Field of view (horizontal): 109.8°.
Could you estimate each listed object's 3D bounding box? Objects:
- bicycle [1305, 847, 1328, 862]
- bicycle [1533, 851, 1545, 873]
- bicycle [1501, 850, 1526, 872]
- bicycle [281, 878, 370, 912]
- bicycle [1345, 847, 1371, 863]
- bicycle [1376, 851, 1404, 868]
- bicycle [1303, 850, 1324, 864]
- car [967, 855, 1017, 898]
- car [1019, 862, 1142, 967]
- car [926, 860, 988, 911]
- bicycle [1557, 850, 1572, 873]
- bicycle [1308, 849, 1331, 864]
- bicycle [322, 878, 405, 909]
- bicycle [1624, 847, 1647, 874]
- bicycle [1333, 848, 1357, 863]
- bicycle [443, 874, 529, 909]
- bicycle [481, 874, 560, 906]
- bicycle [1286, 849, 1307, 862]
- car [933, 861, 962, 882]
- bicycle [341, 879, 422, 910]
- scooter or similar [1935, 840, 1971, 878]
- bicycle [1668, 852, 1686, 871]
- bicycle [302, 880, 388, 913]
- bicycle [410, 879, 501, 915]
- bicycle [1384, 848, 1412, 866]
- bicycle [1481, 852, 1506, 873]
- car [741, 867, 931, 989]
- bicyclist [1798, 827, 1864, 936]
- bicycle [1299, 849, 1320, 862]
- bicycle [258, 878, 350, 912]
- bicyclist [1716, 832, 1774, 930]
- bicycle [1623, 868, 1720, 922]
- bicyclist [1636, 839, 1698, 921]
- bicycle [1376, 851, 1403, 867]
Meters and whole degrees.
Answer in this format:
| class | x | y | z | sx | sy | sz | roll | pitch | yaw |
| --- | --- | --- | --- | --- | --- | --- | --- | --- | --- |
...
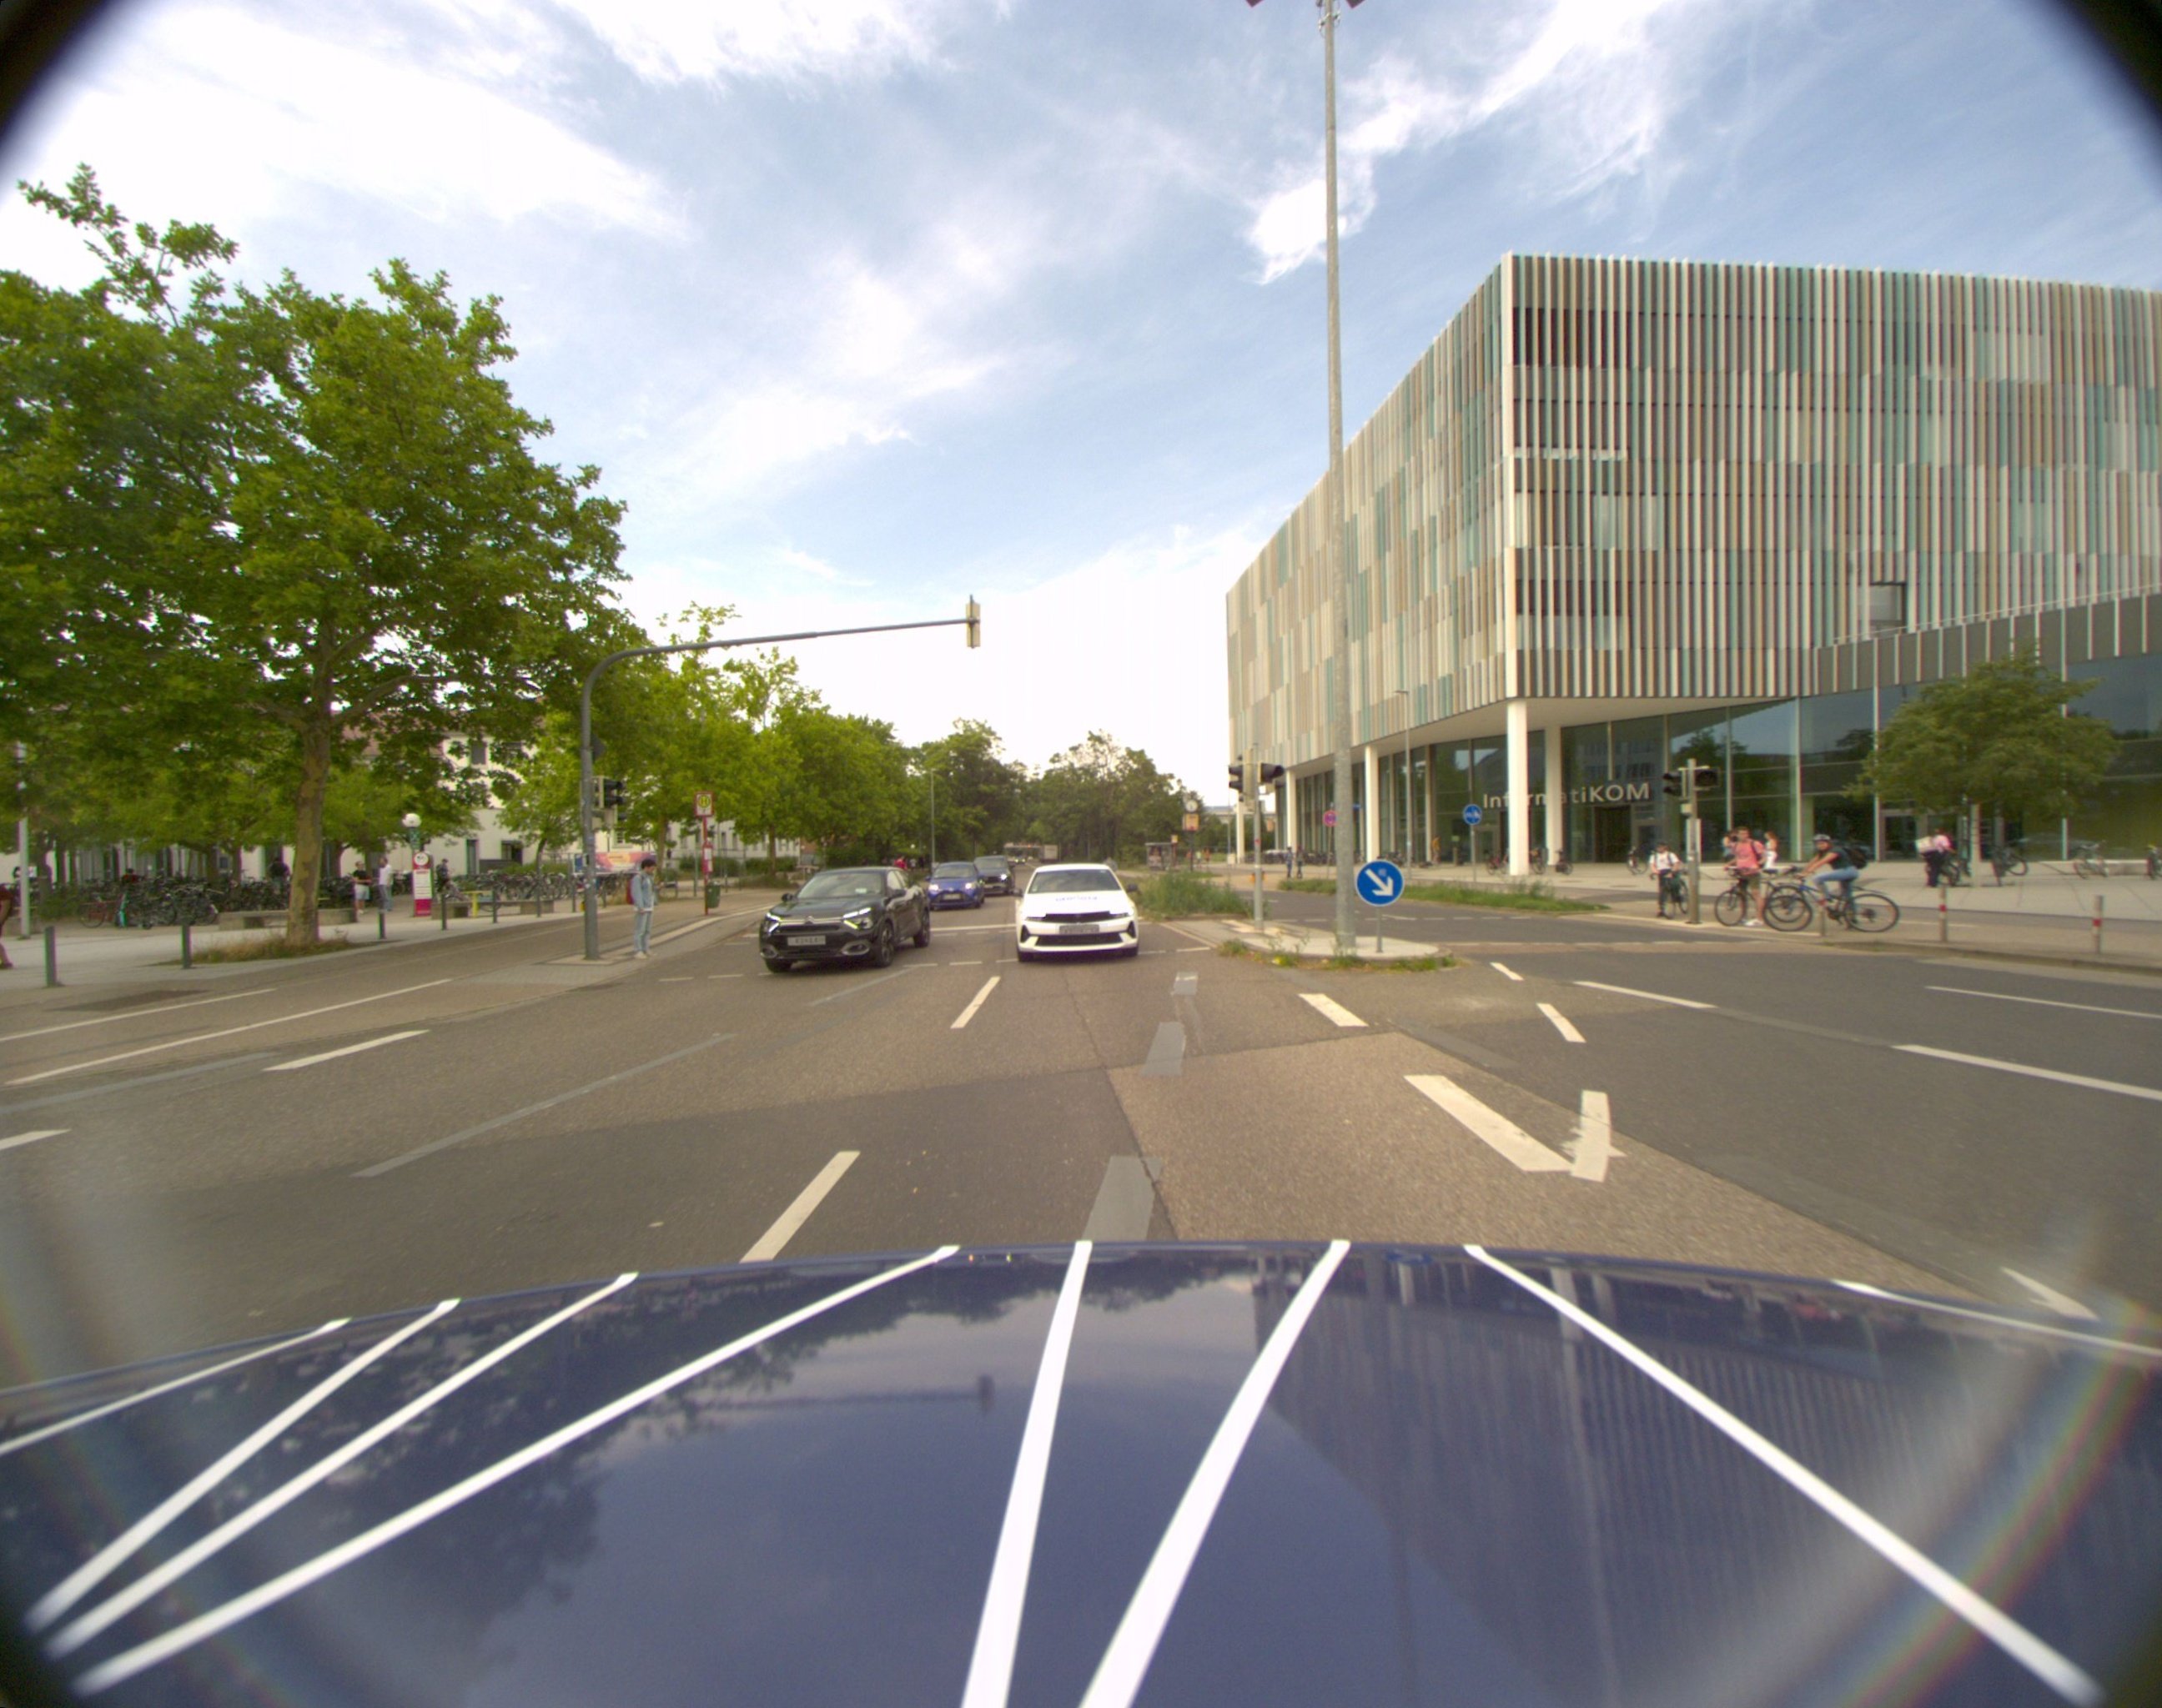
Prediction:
| class | x | y | z | sx | sy | sz | roll | pitch | yaw |
| --- | --- | --- | --- | --- | --- | --- | --- | --- | --- |
| bicycle | 18.253 | 0.040 | 58.904 | 1.582 | 1.017 | 0.389 | -4 | 1 | -9 |
| bicycle | 20.735 | 0.357 | 34.404 | 0.393 | 0.932 | 1.600 | -3 | 1 | 29 |
| bicycle | 20.577 | 0.318 | 36.149 | 1.600 | 0.932 | 0.393 | -4 | 1 | -37 |
| bicycle | -28.293 | 1.532 | 28.478 | 2.472 | 1.136 | 0.717 | -2 | 1 | -3 |
| bicycle | 19.001 | 0.055 | 52.125 | 1.582 | 1.017 | 0.389 | -4 | 1 | -9 |
| bicycle | 18.961 | 0.326 | 46.593 | 1.546 | 0.932 | 0.394 | -4 | 1 | -9 |
| bicycle | 18.171 | 0.228 | 59.378 | 1.582 | 1.017 | 0.389 | -4 | 1 | -9 |
| car | -3.713 | 0.884 | 32.235 | 1.905 | 1.639 | 4.642 | -2 | 0 | -5 |
| car | -0.194 | 0.911 | 13.556 | 1.745 | 1.430 | 4.780 | -2 | 0 | -5 |
| car | -4.067 | 0.970 | 25.354 | 1.704 | 1.485 | 3.830 | -2 | 0 | -5 |
| bicycle | 21.489 | 0.325 | 33.779 | 0.393 | 0.932 | 1.600 | -3 | 1 | 29 |
| bicycle | 17.903 | 0.188 | 57.046 | 1.582 | 1.017 | 0.389 | -4 | 1 | -9 |
| bicycle | -28.383 | 1.558 | 30.096 | 2.472 | 1.136 | 0.717 | -2 | 1 | -3 |
| bicycle | 23.087 | 0.260 | 31.620 | 1.549 | 1.023 | 0.393 | -4 | 1 | -41 |
| bicycle | 18.899 | 0.105 | 54.324 | 1.582 | 1.017 | 0.389 | -4 | 1 | -9 |
| bicycle | -21.853 | 1.371 | 27.943 | 2.472 | 1.136 | 0.717 | -2 | 1 | -3 |
| bicycle | -21.954 | 1.390 | 29.777 | 2.472 | 1.136 | 0.717 | -2 | 1 | -3 |
| bicycle | 17.598 | 0.120 | 61.989 | 1.582 | 1.017 | 0.389 | -4 | 1 | -9 |
| car | -9.594 | 1.260 | 54.741 | 1.704 | 1.361 | 3.830 | -2 | 0 | -5 |
| bicycle | -28.428 | 1.627 | 30.906 | 2.472 | 1.136 | 0.717 | -2 | 1 | -3 |
| scooter or similar | 29.178 | 0.163 | 25.406 | 2.129 | 1.191 | 0.594 | -2 | 1 | -36 |
| bicycle | 24.317 | 0.284 | 31.005 | 0.393 | 0.669 | 1.799 | -3 | 1 | 33 |
| bicycle | -28.325 | 1.639 | 29.262 | 2.472 | 1.136 | 0.717 | -2 | 1 | -3 |
| bicycle | -21.980 | 1.492 | 26.732 | 2.472 | 1.136 | 0.717 | -2 | 1 | -3 |
| bicycle | 19.125 | 0.179 | 45.814 | 1.546 | 0.989 | 0.399 | -4 | 1 | -8 |
| bicycle | 19.618 | 0.396 | 36.123 | 1.613 | 0.932 | 0.393 | -4 | 1 | -37 |
| car | -3.731 | 1.032 | 12.374 | 1.804 | 1.547 | 4.175 | -3 | -1 | -2 |
| bicyclist | 12.853 | 0.462 | 13.030 | 0.602 | 1.796 | 0.561 | -4 | 2 | -18 |
| bicycle | 18.060 | 0.154 | 59.956 | 1.582 | 1.017 | 0.389 | 0 | 1 | -9 |
| bicycle | -28.249 | 1.485 | 27.646 | 2.472 | 1.136 | 0.717 | -2 | 1 | -3 |
| bicyclist | 12.605 | 0.495 | 14.438 | 0.602 | 1.796 | 0.561 | -4 | 2 | -18 |
| bicycle | 12.628 | 0.861 | 16.245 | 1.824 | 0.983 | 0.727 | -3 | 1 | -18 |
| bicyclist | 12.491 | 0.534 | 16.198 | 0.729 | 1.663 | 0.722 | -4 | 1 | -18 |
| bicycle | 19.213 | 0.299 | 47.312 | 1.546 | 0.932 | 0.389 | -4 | 1 | -9 |
